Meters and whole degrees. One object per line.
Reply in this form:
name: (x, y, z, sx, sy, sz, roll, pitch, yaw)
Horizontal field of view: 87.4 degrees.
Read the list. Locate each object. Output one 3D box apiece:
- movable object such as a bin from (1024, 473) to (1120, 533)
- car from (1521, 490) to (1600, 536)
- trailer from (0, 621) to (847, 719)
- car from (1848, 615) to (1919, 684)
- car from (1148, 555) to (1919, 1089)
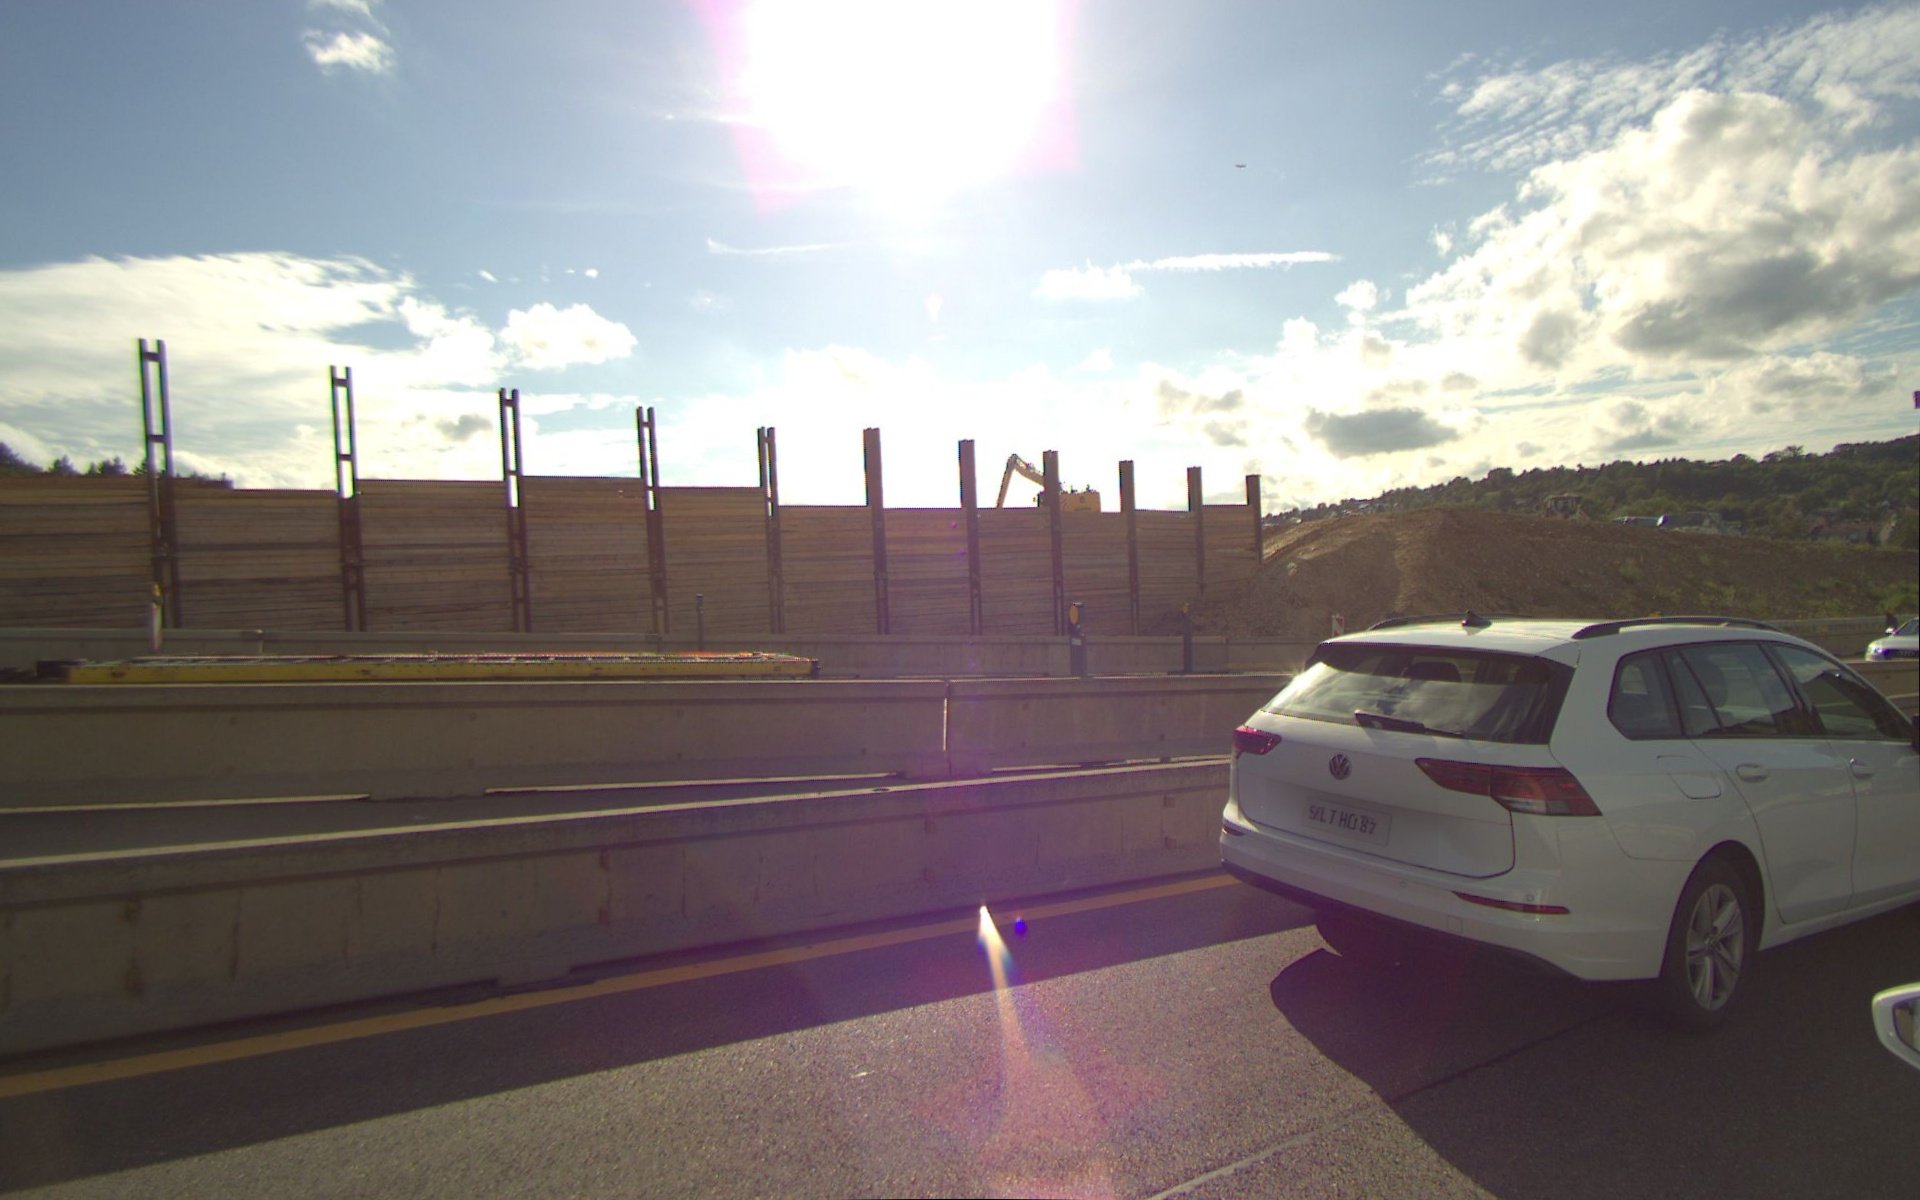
movable object such as a bin: (7.562, -6.518, 68.554, 4.441, 3.314, 5.740, 2, 0, -19)
car: (37.466, -5.376, 62.594, 5.263, 2.167, 1.984, 2, -5, -32)
trailer: (-6.732, 0.891, 13.244, 10.177, 0.952, 2.347, 2, 0, -22)
car: (22.521, 1.104, 22.791, 4.495, 1.459, 1.848, 1, 0, -24)
car: (3.173, 0.763, 4.787, 4.465, 1.510, 1.762, 3, -4, -31)
